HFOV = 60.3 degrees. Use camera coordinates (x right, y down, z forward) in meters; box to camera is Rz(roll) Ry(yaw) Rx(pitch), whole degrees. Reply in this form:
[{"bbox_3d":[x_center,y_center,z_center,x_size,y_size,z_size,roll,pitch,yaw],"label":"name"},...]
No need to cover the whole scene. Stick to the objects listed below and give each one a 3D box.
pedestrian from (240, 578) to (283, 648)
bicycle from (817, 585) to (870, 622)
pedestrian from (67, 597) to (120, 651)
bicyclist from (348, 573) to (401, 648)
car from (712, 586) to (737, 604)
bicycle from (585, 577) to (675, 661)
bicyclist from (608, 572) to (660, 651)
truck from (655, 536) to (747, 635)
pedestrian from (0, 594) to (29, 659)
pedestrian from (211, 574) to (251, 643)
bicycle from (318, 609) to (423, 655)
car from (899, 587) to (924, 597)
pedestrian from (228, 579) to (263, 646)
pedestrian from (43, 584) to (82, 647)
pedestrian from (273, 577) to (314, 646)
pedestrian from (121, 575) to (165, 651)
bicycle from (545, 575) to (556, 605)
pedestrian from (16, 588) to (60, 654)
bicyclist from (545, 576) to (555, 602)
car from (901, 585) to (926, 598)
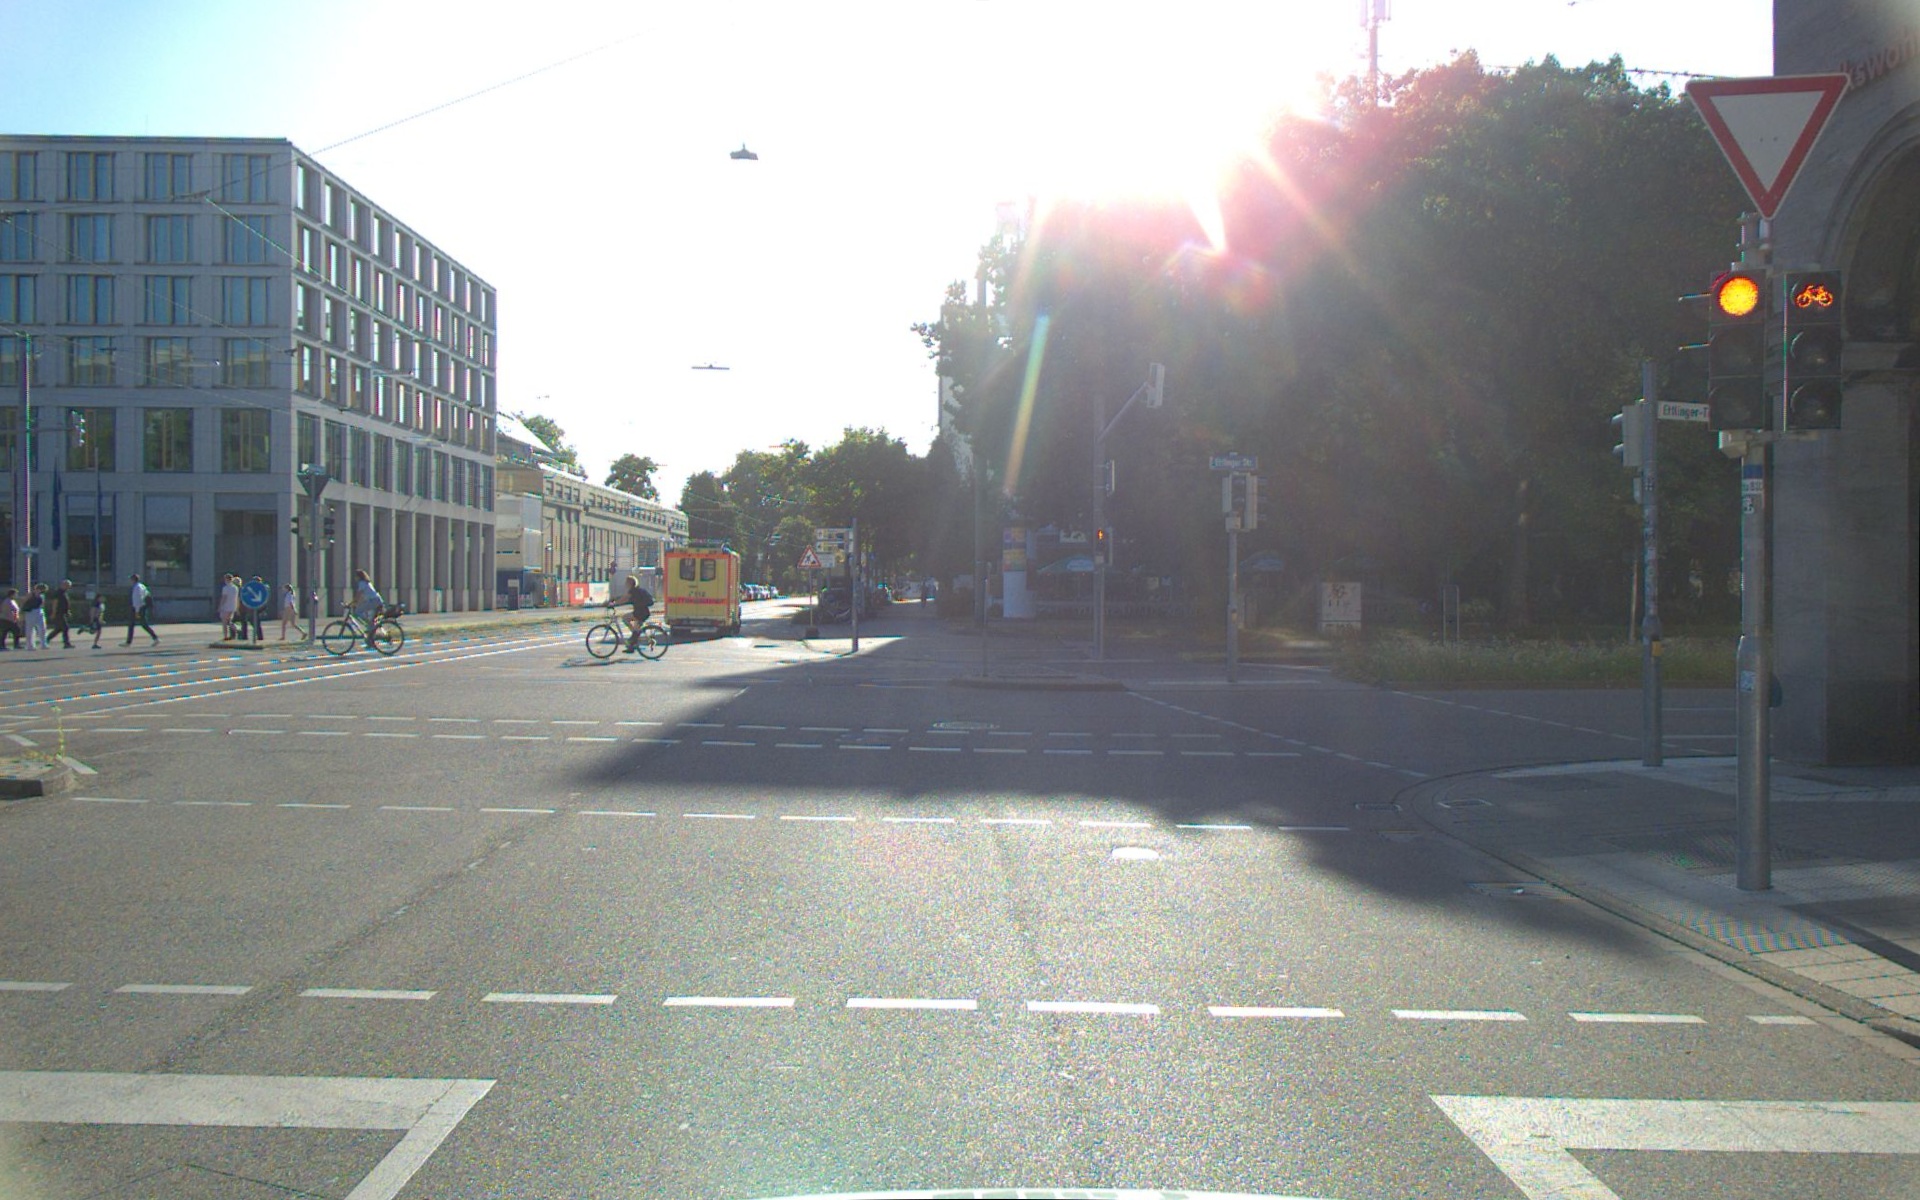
[{"bbox_3d":[-18.456,0.338,43.709,0.852,1.835,0.664,0,0,4],"label":"pedestrian"},{"bbox_3d":[-5.720,0.166,81.250,2.495,1.774,1.037,1,-1,-1],"label":"bicycle"},{"bbox_3d":[-21.738,0.600,41.493,0.975,1.340,0.765,0,0,-10],"label":"pedestrian"},{"bbox_3d":[-12.494,0.220,35.294,0.956,1.587,0.574,0,0,-7],"label":"bicyclist"},{"bbox_3d":[-22.237,-0.446,156.134,1.856,1.635,4.498,0,0,-3],"label":"car"},{"bbox_3d":[-7.046,0.406,35.369,1.862,1.765,0.596,0,0,-9],"label":"bicycle"},{"bbox_3d":[-6.966,0.245,35.381,1.054,1.669,0.596,0,0,-9],"label":"bicyclist"},{"bbox_3d":[-8.525,-0.462,54.957,2.664,3.068,6.481,0,0,-6],"label":"truck"},{"bbox_3d":[-24.649,0.692,43.051,0.688,1.673,0.613,0,0,-36],"label":"pedestrian"},{"bbox_3d":[-19.487,0.229,44.226,0.723,1.835,0.716,0,0,4],"label":"pedestrian"},{"bbox_3d":[-12.554,0.676,35.279,2.025,0.949,0.574,0,0,-7],"label":"bicycle"},{"bbox_3d":[-6.211,-1.007,211.065,3.153,1.285,1.372,1,0,-2],"label":"car"},{"bbox_3d":[-19.600,0.346,45.372,0.723,1.835,0.532,0,0,4],"label":"pedestrian"},{"bbox_3d":[-24.102,0.415,44.428,0.679,1.673,0.622,0,0,6],"label":"pedestrian"},{"bbox_3d":[-17.929,0.309,44.491,0.851,1.835,0.532,0,0,4],"label":"pedestrian"},{"bbox_3d":[-21.124,0.324,42.762,0.785,1.951,0.637,0,0,4],"label":"pedestrian"},{"bbox_3d":[-32.119,-0.747,129.674,0.559,2.336,1.422,0,0,-2],"label":"bicycle"},{"bbox_3d":[-23.348,0.524,41.897,0.777,1.673,0.620,0,0,-5],"label":"pedestrian"},{"bbox_3d":[-32.119,-0.844,129.593,0.559,2.059,0.761,0,0,-2],"label":"bicyclist"},{"bbox_3d":[-6.057,-1.134,213.387,3.152,1.616,1.445,1,0,-5],"label":"car"}]
